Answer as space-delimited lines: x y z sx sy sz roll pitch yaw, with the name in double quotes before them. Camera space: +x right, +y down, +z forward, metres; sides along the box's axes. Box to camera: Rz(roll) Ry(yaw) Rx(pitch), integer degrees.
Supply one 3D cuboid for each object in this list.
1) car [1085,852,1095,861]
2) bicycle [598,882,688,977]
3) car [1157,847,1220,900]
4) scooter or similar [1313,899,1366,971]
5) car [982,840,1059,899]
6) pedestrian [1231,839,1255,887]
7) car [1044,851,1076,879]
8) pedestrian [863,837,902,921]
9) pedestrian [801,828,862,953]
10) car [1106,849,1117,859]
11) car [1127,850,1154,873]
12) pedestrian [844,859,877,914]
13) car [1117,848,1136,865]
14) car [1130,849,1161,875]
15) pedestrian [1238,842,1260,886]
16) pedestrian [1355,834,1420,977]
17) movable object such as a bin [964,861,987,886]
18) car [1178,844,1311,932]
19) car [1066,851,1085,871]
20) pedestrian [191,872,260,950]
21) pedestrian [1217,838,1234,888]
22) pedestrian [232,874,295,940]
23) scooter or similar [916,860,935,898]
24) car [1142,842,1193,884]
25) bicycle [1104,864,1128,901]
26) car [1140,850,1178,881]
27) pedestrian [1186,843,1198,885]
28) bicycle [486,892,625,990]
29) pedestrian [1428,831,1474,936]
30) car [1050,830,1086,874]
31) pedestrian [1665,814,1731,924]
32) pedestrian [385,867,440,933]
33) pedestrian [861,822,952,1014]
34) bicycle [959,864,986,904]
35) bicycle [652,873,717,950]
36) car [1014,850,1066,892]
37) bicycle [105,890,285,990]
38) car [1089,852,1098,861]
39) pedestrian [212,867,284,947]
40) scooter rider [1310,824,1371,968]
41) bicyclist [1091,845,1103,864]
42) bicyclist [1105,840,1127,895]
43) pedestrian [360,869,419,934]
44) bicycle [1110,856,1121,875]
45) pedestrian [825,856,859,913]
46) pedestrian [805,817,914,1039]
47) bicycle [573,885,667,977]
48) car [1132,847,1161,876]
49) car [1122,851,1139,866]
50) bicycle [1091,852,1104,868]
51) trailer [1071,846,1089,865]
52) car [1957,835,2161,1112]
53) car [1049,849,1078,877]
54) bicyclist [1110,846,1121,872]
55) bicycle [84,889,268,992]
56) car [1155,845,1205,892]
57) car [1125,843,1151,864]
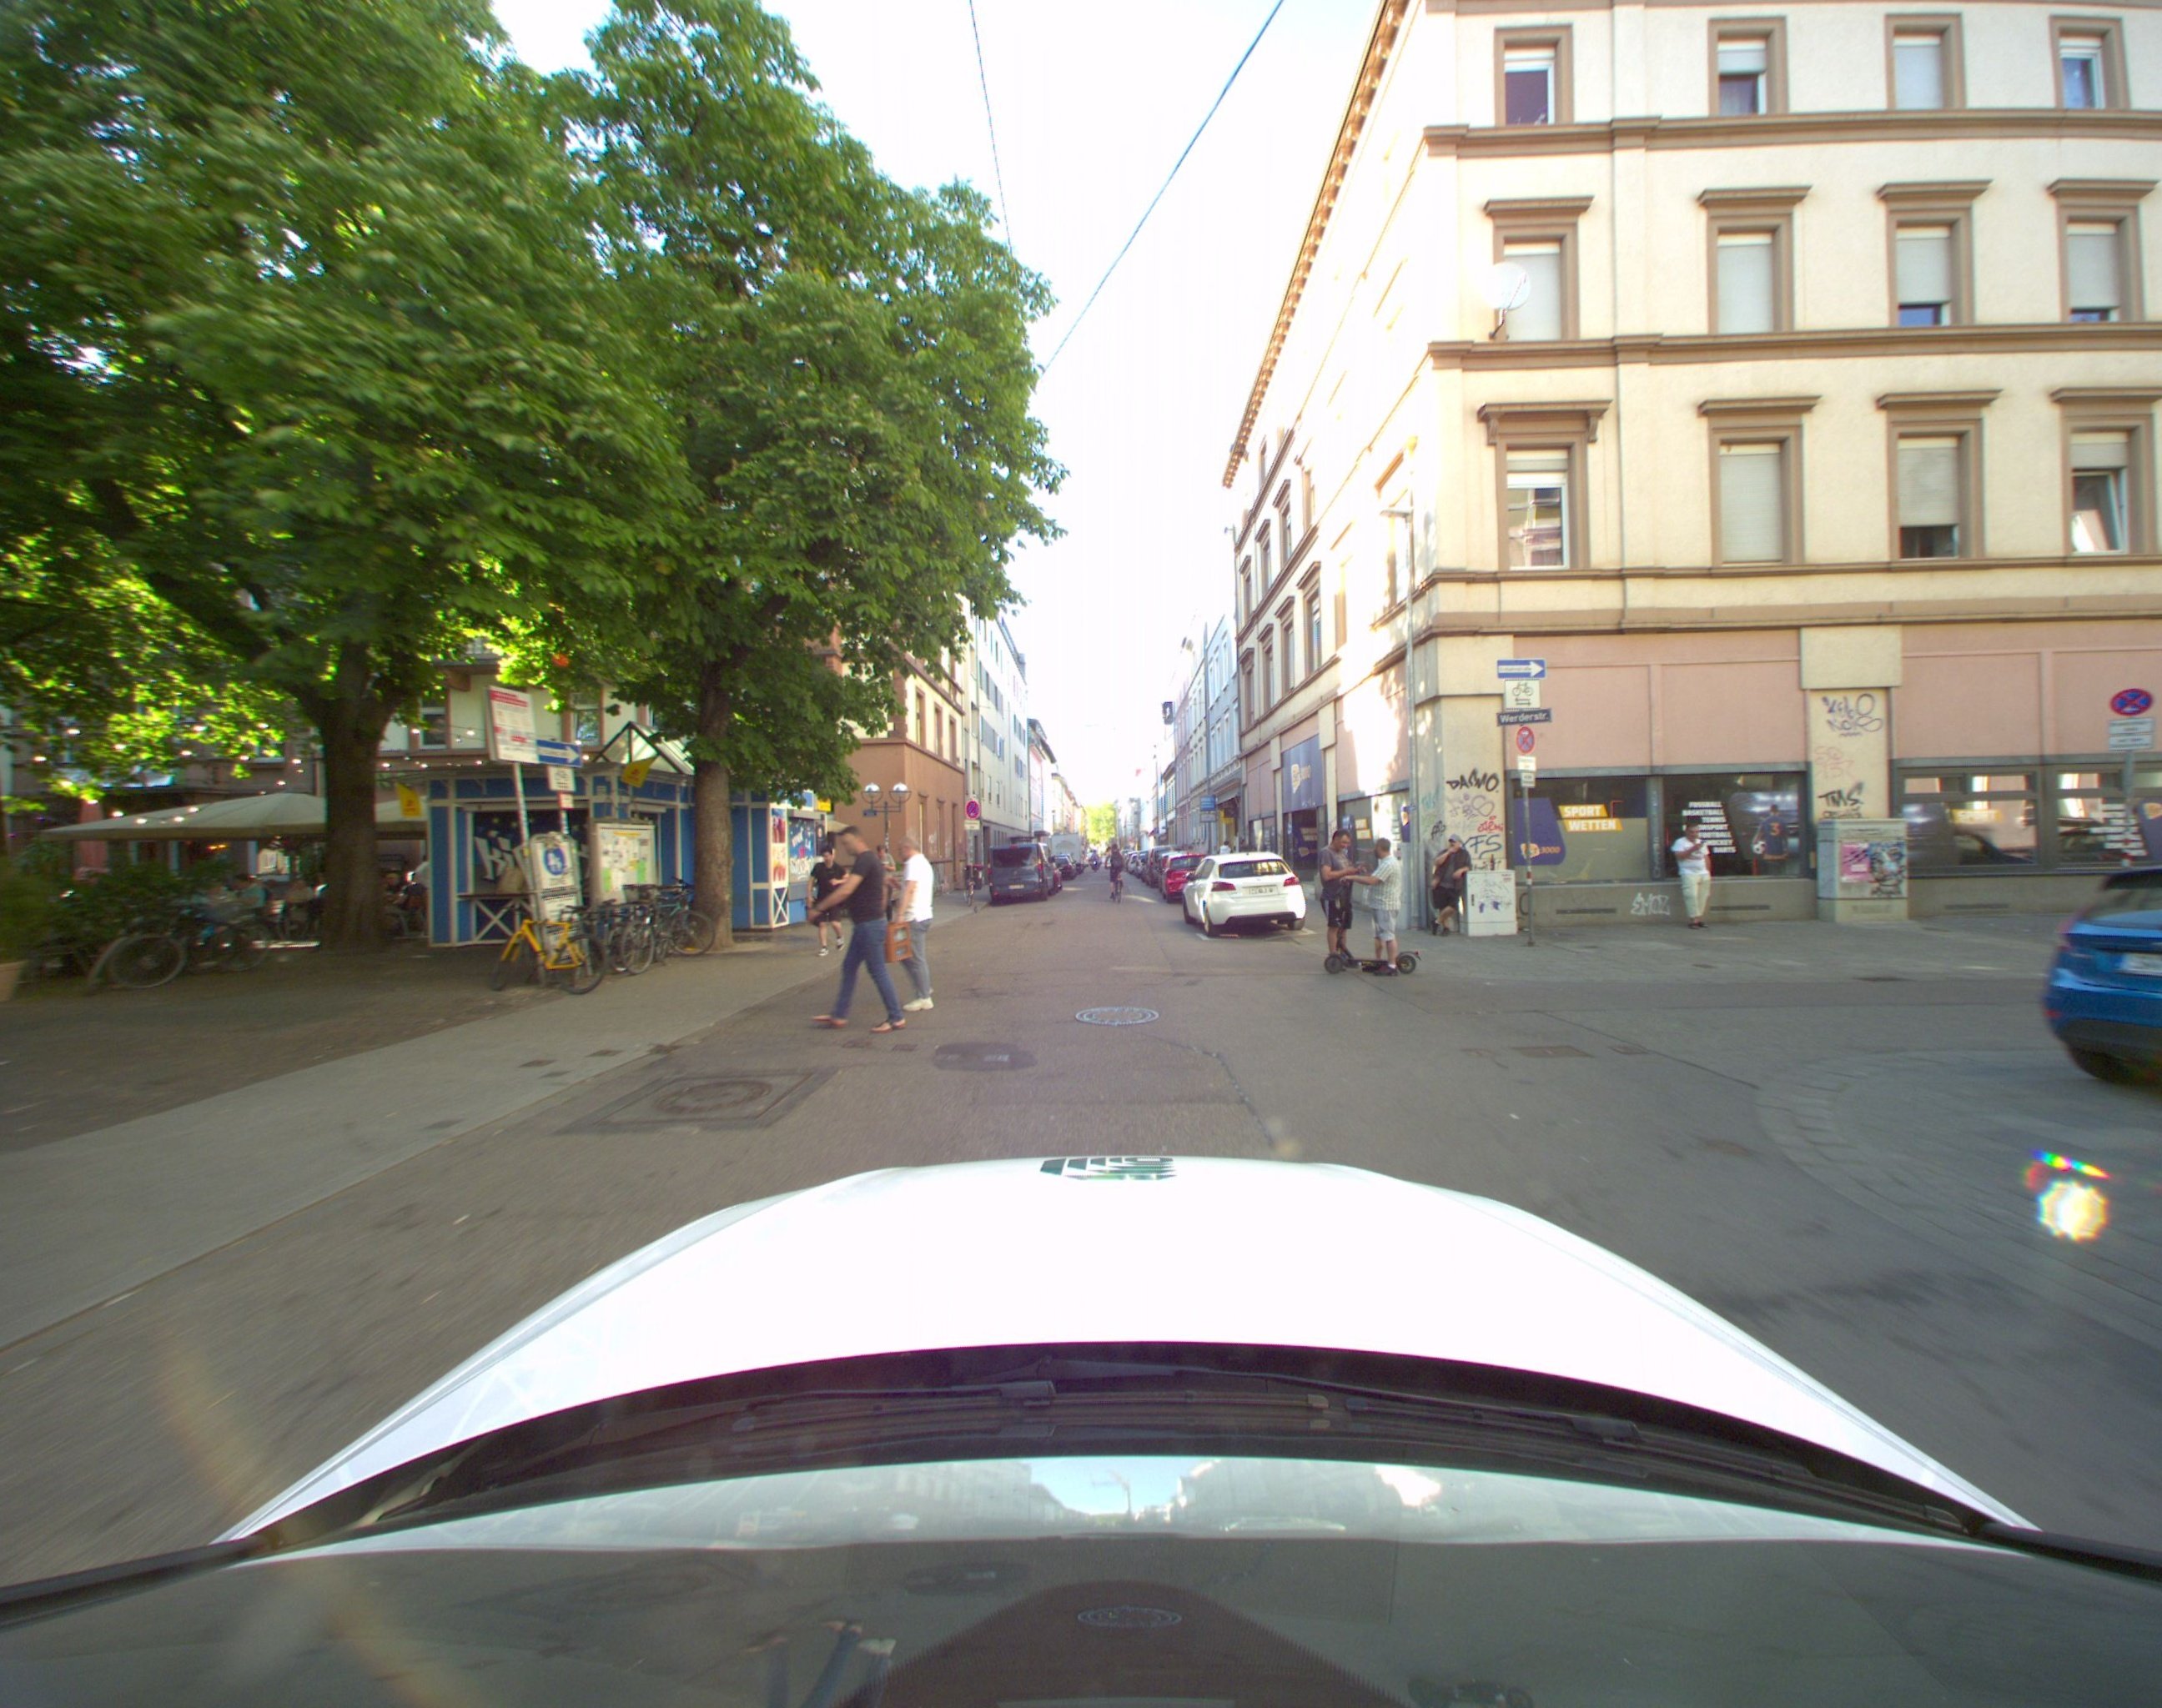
"car" 1.635 0.488 149.183 1.744 1.683 3.797 -2 -1 1
"bicycle" -5.733 0.946 10.738 0.291 1.082 1.579 0 1 2
"car" 3.385 0.605 26.133 1.601 1.572 3.554 0 0 1
"scooter or similar" 3.242 1.001 10.263 0.392 0.828 0.926 0 -1 2
"car" -2.000 0.478 28.566 2.012 1.879 5.301 0 0 3
"pedestrian" 5.924 0.335 29.779 0.629 1.740 0.656 0 -1 -12
"car" -1.234 0.611 50.074 1.711 1.478 4.500 -4 1 1
"pedestrian" -4.414 0.554 18.140 0.644 1.834 0.697 1 -1 1
"pedestrian" -3.844 0.553 12.589 0.714 1.873 0.720 0 -1 1
"car" 4.711 0.019 126.281 1.605 1.560 3.611 -1 0 1
"car" 4.410 0.570 60.883 1.680 1.543 4.047 -3 -1 1
"pedestrian" -5.864 0.864 21.706 0.703 1.445 0.617 0 -1 0
"car" 5.133 0.314 92.586 1.745 1.879 3.971 -2 -1 -1
"car" 4.311 0.538 55.006 1.691 1.543 4.629 -3 -1 1
"pedestrian" 5.985 0.358 29.051 0.586 1.529 0.658 0 -1 -4
"pedestrian" 3.645 0.588 9.677 0.568 1.638 0.522 0 -1 -45
"movable object such as a bin" -4.607 0.861 35.569 0.752 1.067 0.655 -1 -1 21
"car" 3.086 0.604 16.209 1.781 1.516 4.135 0 0 -1
"car" -0.509 0.709 80.694 1.746 1.816 4.078 -3 -1 1
"pedestrian" -14.760 0.963 14.056 0.542 1.305 0.597 0 -1 0
"pedestrian" 5.097 0.330 28.653 0.557 1.740 0.429 -1 -1 13
"pedestrian" -16.230 1.039 16.180 0.562 1.268 0.678 0 -1 1
"scooter or similar" -5.143 0.819 26.943 0.346 1.216 1.392 0 -1 1
"car" 3.831 0.395 36.768 1.892 1.793 4.316 0 0 1
"bicycle" 1.077 0.855 25.188 0.674 1.074 1.942 0 -1 1
"car" 3.973 0.556 41.825 1.548 1.511 3.610 0 0 -1
"pedestrian" 4.602 0.402 33.725 0.439 1.704 0.655 0 -1 2
"bicycle" -6.132 0.997 9.501 1.563 1.082 0.348 0 -1 12
"pedestrian" 6.005 0.471 13.224 0.593 1.650 0.468 -1 2 32
"car" -1.006 -0.155 66.527 2.334 3.291 7.157 -3 -1 2
"pedestrian" 9.911 0.242 13.092 0.688 1.726 0.475 0 -1 0
"pedestrian" -13.738 0.934 16.746 0.595 1.321 0.635 0 -1 7
"pedestrian" -1.736 0.614 8.174 0.759 1.835 0.688 0 -1 -1
"bicycle" -3.423 0.913 25.626 0.551 1.216 1.977 0 -1 -16
"bicycle" -6.590 0.911 13.616 0.497 1.131 2.029 0 0 -12
"car" -1.662 0.680 33.902 1.744 1.522 3.870 -4 -1 2
"bicycle" -11.750 1.092 10.899 0.227 1.091 1.938 0 2 1
"car" 2.587 0.542 166.933 1.744 1.821 3.797 -2 -1 1
"pedestrian" -14.293 0.894 13.987 0.566 1.321 0.634 0 -1 1
"scooter rider" 3.334 0.516 10.446 0.558 1.778 0.615 -1 -1 36
"bicyclist" 1.398 0.032 69.851 0.946 1.628 0.954 -3 0 2
"bicyclist" 1.075 0.420 25.227 0.665 1.677 1.097 0 -1 1
"pedestrian" -14.392 0.972 16.958 0.693 1.321 0.614 0 -1 9
"bicycle" 2.079 0.683 49.039 0.646 1.129 2.136 0 -1 1
"pedestrian" -6.187 0.782 21.122 0.703 1.445 0.617 0 -1 0
"pedestrian" -1.930 0.615 7.216 0.691 1.825 1.003 0 -1 0
"bicycle" -6.063 0.978 10.790 0.291 1.046 1.579 0 1 2
"car" 3.988 0.454 50.009 1.551 1.712 3.559 0 -1 1
"car" 5.329 0.515 87.516 1.743 1.487 3.802 -2 -1 3
"bicycle" 1.442 0.533 70.153 0.973 1.314 2.557 -3 0 3
"trailer" -0.092 0.187 96.006 1.875 2.092 3.738 -2 -1 1
"car" 7.598 0.604 4.494 3.560 1.486 1.789 -1 0 1
"car" -1.179 0.576 55.600 1.711 1.650 4.246 -4 1 1
"bicyclist" 2.066 0.285 49.046 0.668 1.567 0.716 0 -1 0
"bicycle" -12.003 1.098 10.903 0.227 1.091 1.938 0 2 1
"car" 3.705 0.522 30.765 1.563 1.557 3.317 -4 -1 3
"car" 4.830 -0.052 69.306 1.911 1.706 4.367 -1 0 1
